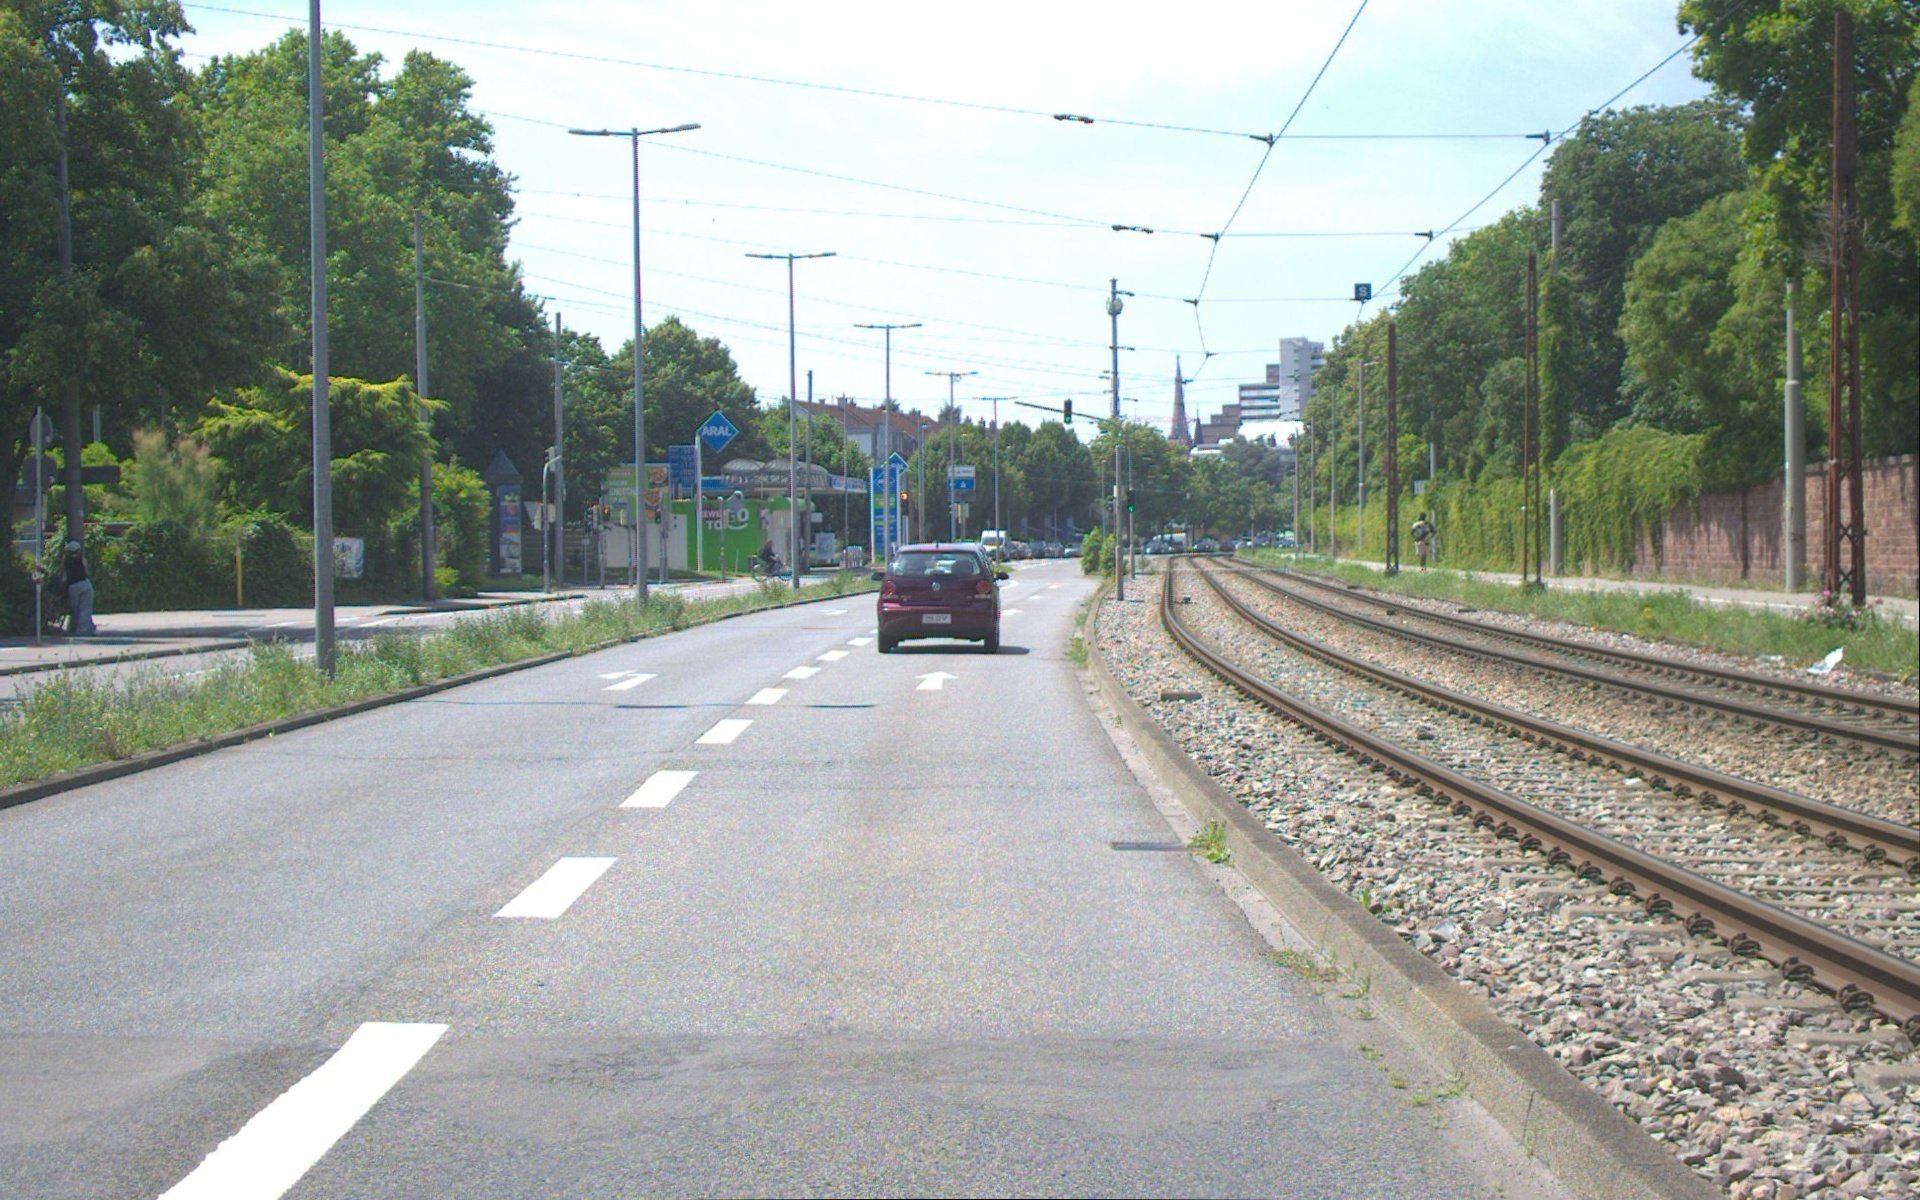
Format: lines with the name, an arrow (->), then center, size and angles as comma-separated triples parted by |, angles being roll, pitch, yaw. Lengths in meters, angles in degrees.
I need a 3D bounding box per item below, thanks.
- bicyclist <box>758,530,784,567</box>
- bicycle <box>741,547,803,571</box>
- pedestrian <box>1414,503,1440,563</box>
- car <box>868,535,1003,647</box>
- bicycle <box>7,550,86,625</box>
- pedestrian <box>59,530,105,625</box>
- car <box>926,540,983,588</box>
bicyclist -> -8.203, -2.223, 149.370 | 0.944, 1.588, 1.088 | 1, 0, -12
bicycle -> -8.156, -1.773, 149.352 | 2.549, 1.034, 1.088 | 1, 0, -12
pedestrian -> 13.490, -1.930, 99.332 | 0.661, 1.720, 0.816 | -1, 1, 2
car -> -0.301, -0.116, 47.192 | 1.703, 1.472, 3.716 | 0, 0, 2
bicycle -> -16.590, -0.233, 62.466 | 0.646, 1.323, 1.572 | -1, 1, 16
pedestrian -> -15.952, -0.408, 62.481 | 0.549, 1.712, 0.603 | -1, 1, 16
car -> -0.191, -1.206, 113.249 | 1.702, 1.475, 3.717 | 2, 1, -2
